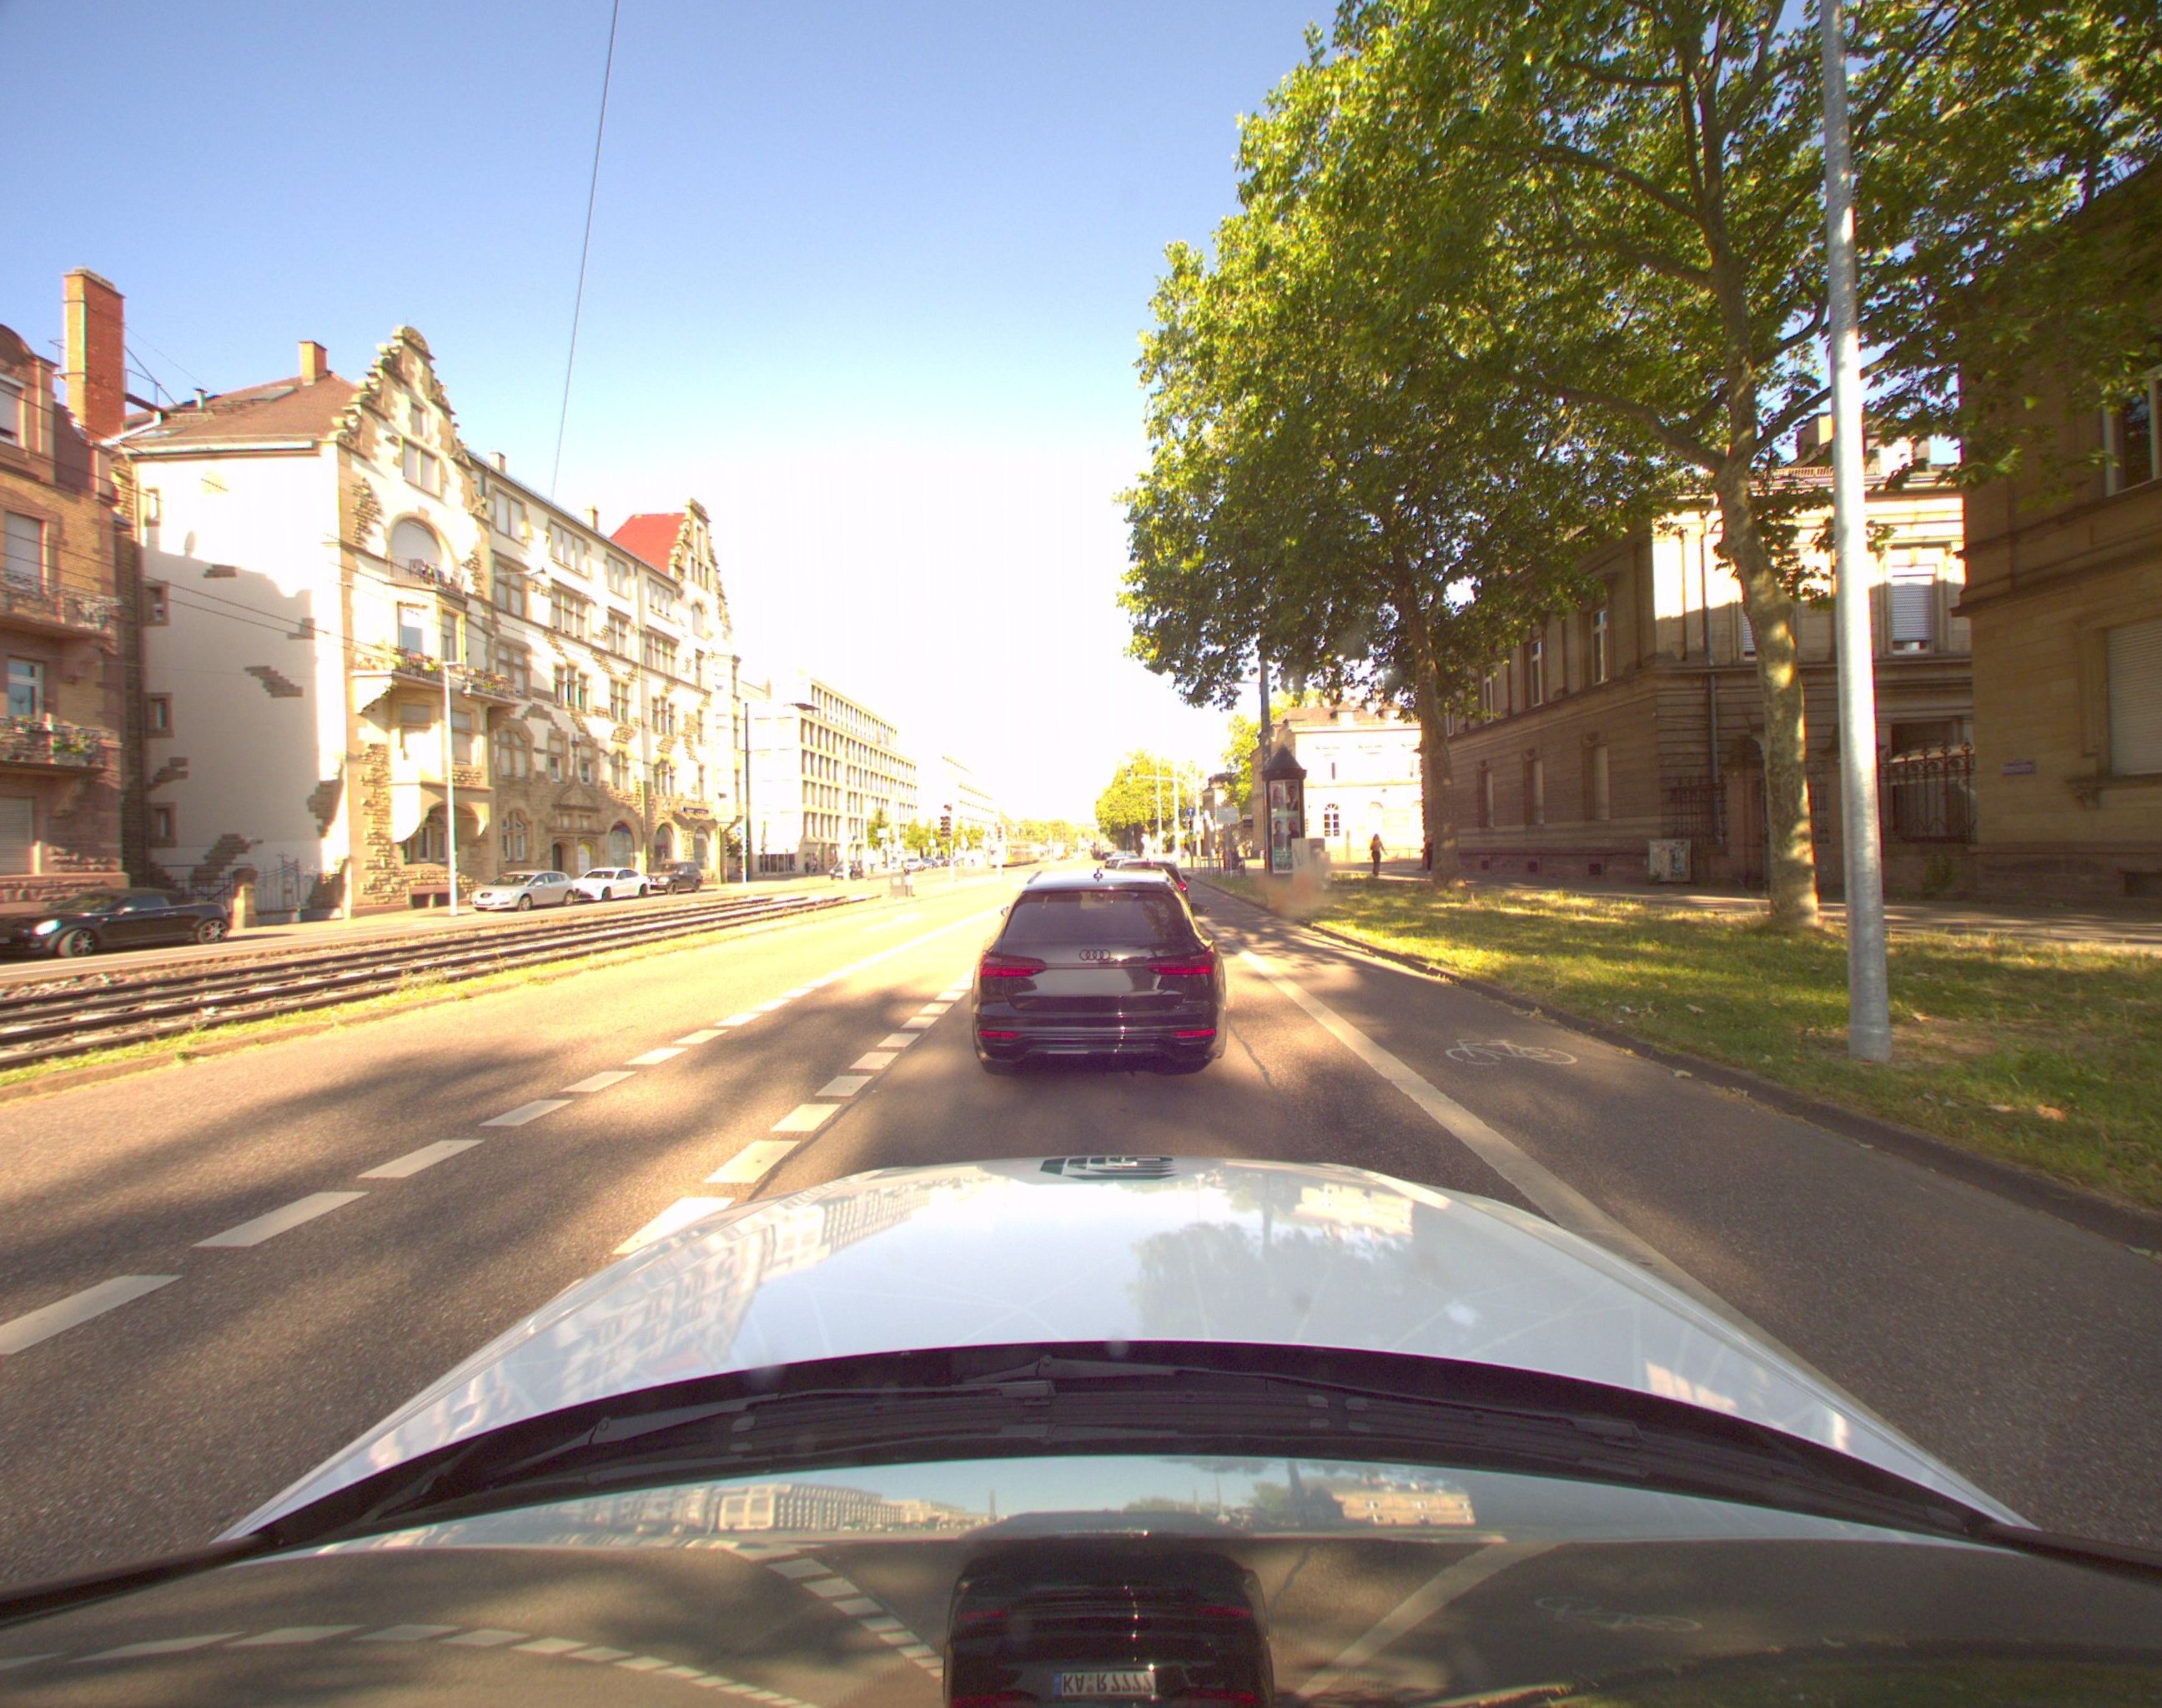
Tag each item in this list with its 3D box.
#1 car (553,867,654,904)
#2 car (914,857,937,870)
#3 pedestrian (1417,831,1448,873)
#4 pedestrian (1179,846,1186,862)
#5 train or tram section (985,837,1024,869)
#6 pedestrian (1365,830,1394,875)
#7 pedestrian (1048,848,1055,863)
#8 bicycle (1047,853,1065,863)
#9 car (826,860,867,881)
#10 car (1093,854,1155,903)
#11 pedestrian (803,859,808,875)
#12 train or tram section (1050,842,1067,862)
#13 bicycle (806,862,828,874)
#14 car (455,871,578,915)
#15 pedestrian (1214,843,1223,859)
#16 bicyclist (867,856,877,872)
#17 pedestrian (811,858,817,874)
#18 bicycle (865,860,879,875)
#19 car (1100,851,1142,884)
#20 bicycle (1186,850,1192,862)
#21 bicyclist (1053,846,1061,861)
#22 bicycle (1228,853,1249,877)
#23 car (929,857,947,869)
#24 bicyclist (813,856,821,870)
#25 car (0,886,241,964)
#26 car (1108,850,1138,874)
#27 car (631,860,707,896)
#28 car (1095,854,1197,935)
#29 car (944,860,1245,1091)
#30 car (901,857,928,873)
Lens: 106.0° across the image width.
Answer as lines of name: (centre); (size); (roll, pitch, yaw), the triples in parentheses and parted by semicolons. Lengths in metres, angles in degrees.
car: (-21.212, 1.372, 36.397); (1.711, 1.423, 4.656); (0, 0, 1)
car: (-18.849, 1.143, 98.745); (1.813, 1.457, 4.157); (-2, 0, 1)
pedestrian: (13.787, -0.070, 31.970); (0.766, 1.606, 0.987); (-2, 0, 4)
pedestrian: (10.680, -0.008, 85.655); (0.679, 1.660, 0.758); (-2, 0, 0)
train or tram section: (-9.058, -0.098, 97.874); (2.802, 3.489, 13.211); (-2, 0, 2)
pedestrian: (11.806, -0.051, 32.257); (0.766, 1.709, 1.043); (-2, 0, 4)
pedestrian: (-3.594, 0.174, 98.974); (0.740, 1.741, 0.661); (-2, 0, -12)
bicycle: (-2.958, 0.438, 97.479); (2.008, 1.108, 0.761); (-2, 0, -14)
car: (-17.495, 1.214, 60.898); (1.814, 1.457, 4.164); (-2, 0, -1)
car: (1.429, 0.751, 27.158); (1.895, 1.486, 4.147); (-1, 0, 3)
pedestrian: (-31.454, 1.518, 92.976); (0.475, 1.843, 0.438); (-2, 0, -36)
train or tram section: (-4.095, -0.319, 150.062); (2.600, 3.450, 11.133); (-2, 0, 1)
bicycle: (-30.979, 1.636, 95.479); (2.395, 1.215, 0.572); (-2, 0, -29)
car: (-21.151, 1.402, 30.744); (1.704, 1.431, 4.223); (0, 0, 0)
pedestrian: (16.354, -0.411, 96.772); (0.975, 1.865, 0.827); (-2, 0, 3)
bicyclist: (-20.763, 1.000, 80.901); (0.682, 1.563, 0.786); (-2, 0, 3)
pedestrian: (-30.621, 1.413, 93.382); (0.535, 1.843, 0.438); (-2, 0, -36)
bicycle: (-20.753, 1.354, 80.954); (0.682, 1.381, 1.949); (-2, 0, 4)
car: (1.893, 0.608, 38.609); (1.895, 1.486, 4.147); (-1, 0, 3)
bicycle: (11.309, 0.203, 85.662); (0.433, 1.145, 1.340); (-2, 0, 1)
bicyclist: (-2.819, -0.040, 97.508); (0.757, 1.818, 0.761); (-2, 0, -13)
bicycle: (7.325, 0.490, 37.902); (0.538, 1.061, 1.770); (-2, 0, -1)
car: (-21.835, 1.357, 124.570); (1.835, 1.812, 4.114); (-2, 0, 1)
bicyclist: (-30.955, 1.050, 95.495); (0.645, 1.686, 0.572); (-2, 0, -28)
car: (-21.521, 1.490, 18.163); (1.616, 1.354, 3.727); (1, 0, 1)
car: (2.729, 0.484, 53.204); (1.895, 1.486, 4.147); (-1, 0, 3)
car: (-21.036, 1.200, 41.802); (1.711, 1.675, 4.217); (0, 0, 1)
car: (1.327, 0.765, 17.398); (1.895, 1.486, 4.147); (-1, 0, 3)
car: (0.182, 0.792, 7.260); (1.895, 1.421, 4.147); (-1, 0, 3)
car: (-17.595, 1.142, 86.086); (1.813, 1.457, 4.541); (-2, 0, 1)
